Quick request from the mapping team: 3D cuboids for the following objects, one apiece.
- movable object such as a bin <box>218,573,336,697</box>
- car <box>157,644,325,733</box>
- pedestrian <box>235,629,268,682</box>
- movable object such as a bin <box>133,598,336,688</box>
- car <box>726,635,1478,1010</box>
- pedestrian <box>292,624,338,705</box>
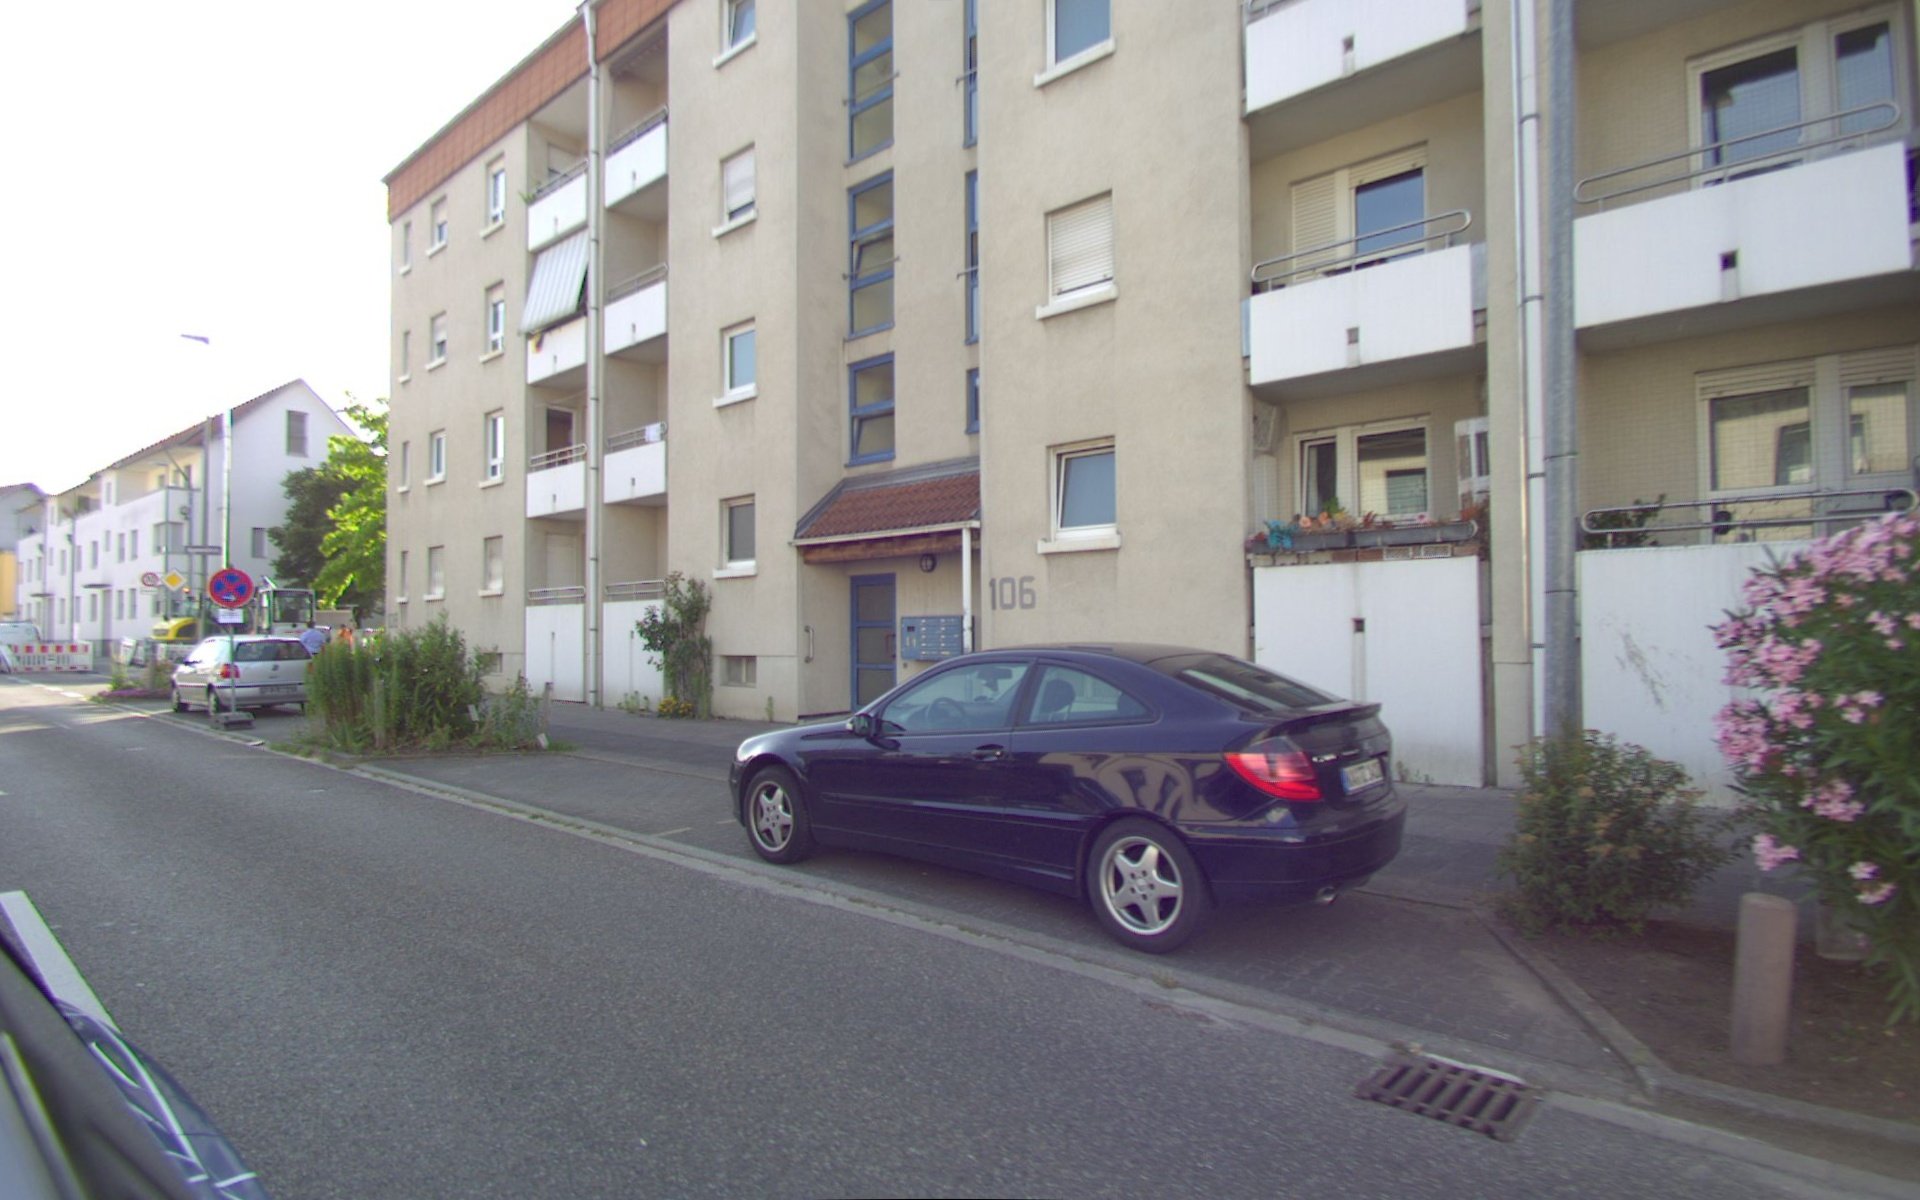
[{"bbox_3d":[-18.715,0.975,27.687,3.897,3.162,1.631,-3,-4,40],"label":"movable object such as a bin"},{"bbox_3d":[-12.993,1.516,18.224,3.668,1.406,1.623,-2,-2,40],"label":"car"},{"bbox_3d":[-22.857,1.788,32.634,0.993,1.677,0.661,-2,-2,42],"label":"pedestrian"},{"bbox_3d":[-25.350,1.466,35.633,2.103,2.923,5.460,-3,-2,29],"label":"movable object such as a bin"},{"bbox_3d":[0.558,0.941,5.897,4.081,1.416,1.668,-2,-2,41],"label":"car"},{"bbox_3d":[-14.906,1.472,23.391,0.745,1.832,0.711,-3,-3,42],"label":"pedestrian"}]
